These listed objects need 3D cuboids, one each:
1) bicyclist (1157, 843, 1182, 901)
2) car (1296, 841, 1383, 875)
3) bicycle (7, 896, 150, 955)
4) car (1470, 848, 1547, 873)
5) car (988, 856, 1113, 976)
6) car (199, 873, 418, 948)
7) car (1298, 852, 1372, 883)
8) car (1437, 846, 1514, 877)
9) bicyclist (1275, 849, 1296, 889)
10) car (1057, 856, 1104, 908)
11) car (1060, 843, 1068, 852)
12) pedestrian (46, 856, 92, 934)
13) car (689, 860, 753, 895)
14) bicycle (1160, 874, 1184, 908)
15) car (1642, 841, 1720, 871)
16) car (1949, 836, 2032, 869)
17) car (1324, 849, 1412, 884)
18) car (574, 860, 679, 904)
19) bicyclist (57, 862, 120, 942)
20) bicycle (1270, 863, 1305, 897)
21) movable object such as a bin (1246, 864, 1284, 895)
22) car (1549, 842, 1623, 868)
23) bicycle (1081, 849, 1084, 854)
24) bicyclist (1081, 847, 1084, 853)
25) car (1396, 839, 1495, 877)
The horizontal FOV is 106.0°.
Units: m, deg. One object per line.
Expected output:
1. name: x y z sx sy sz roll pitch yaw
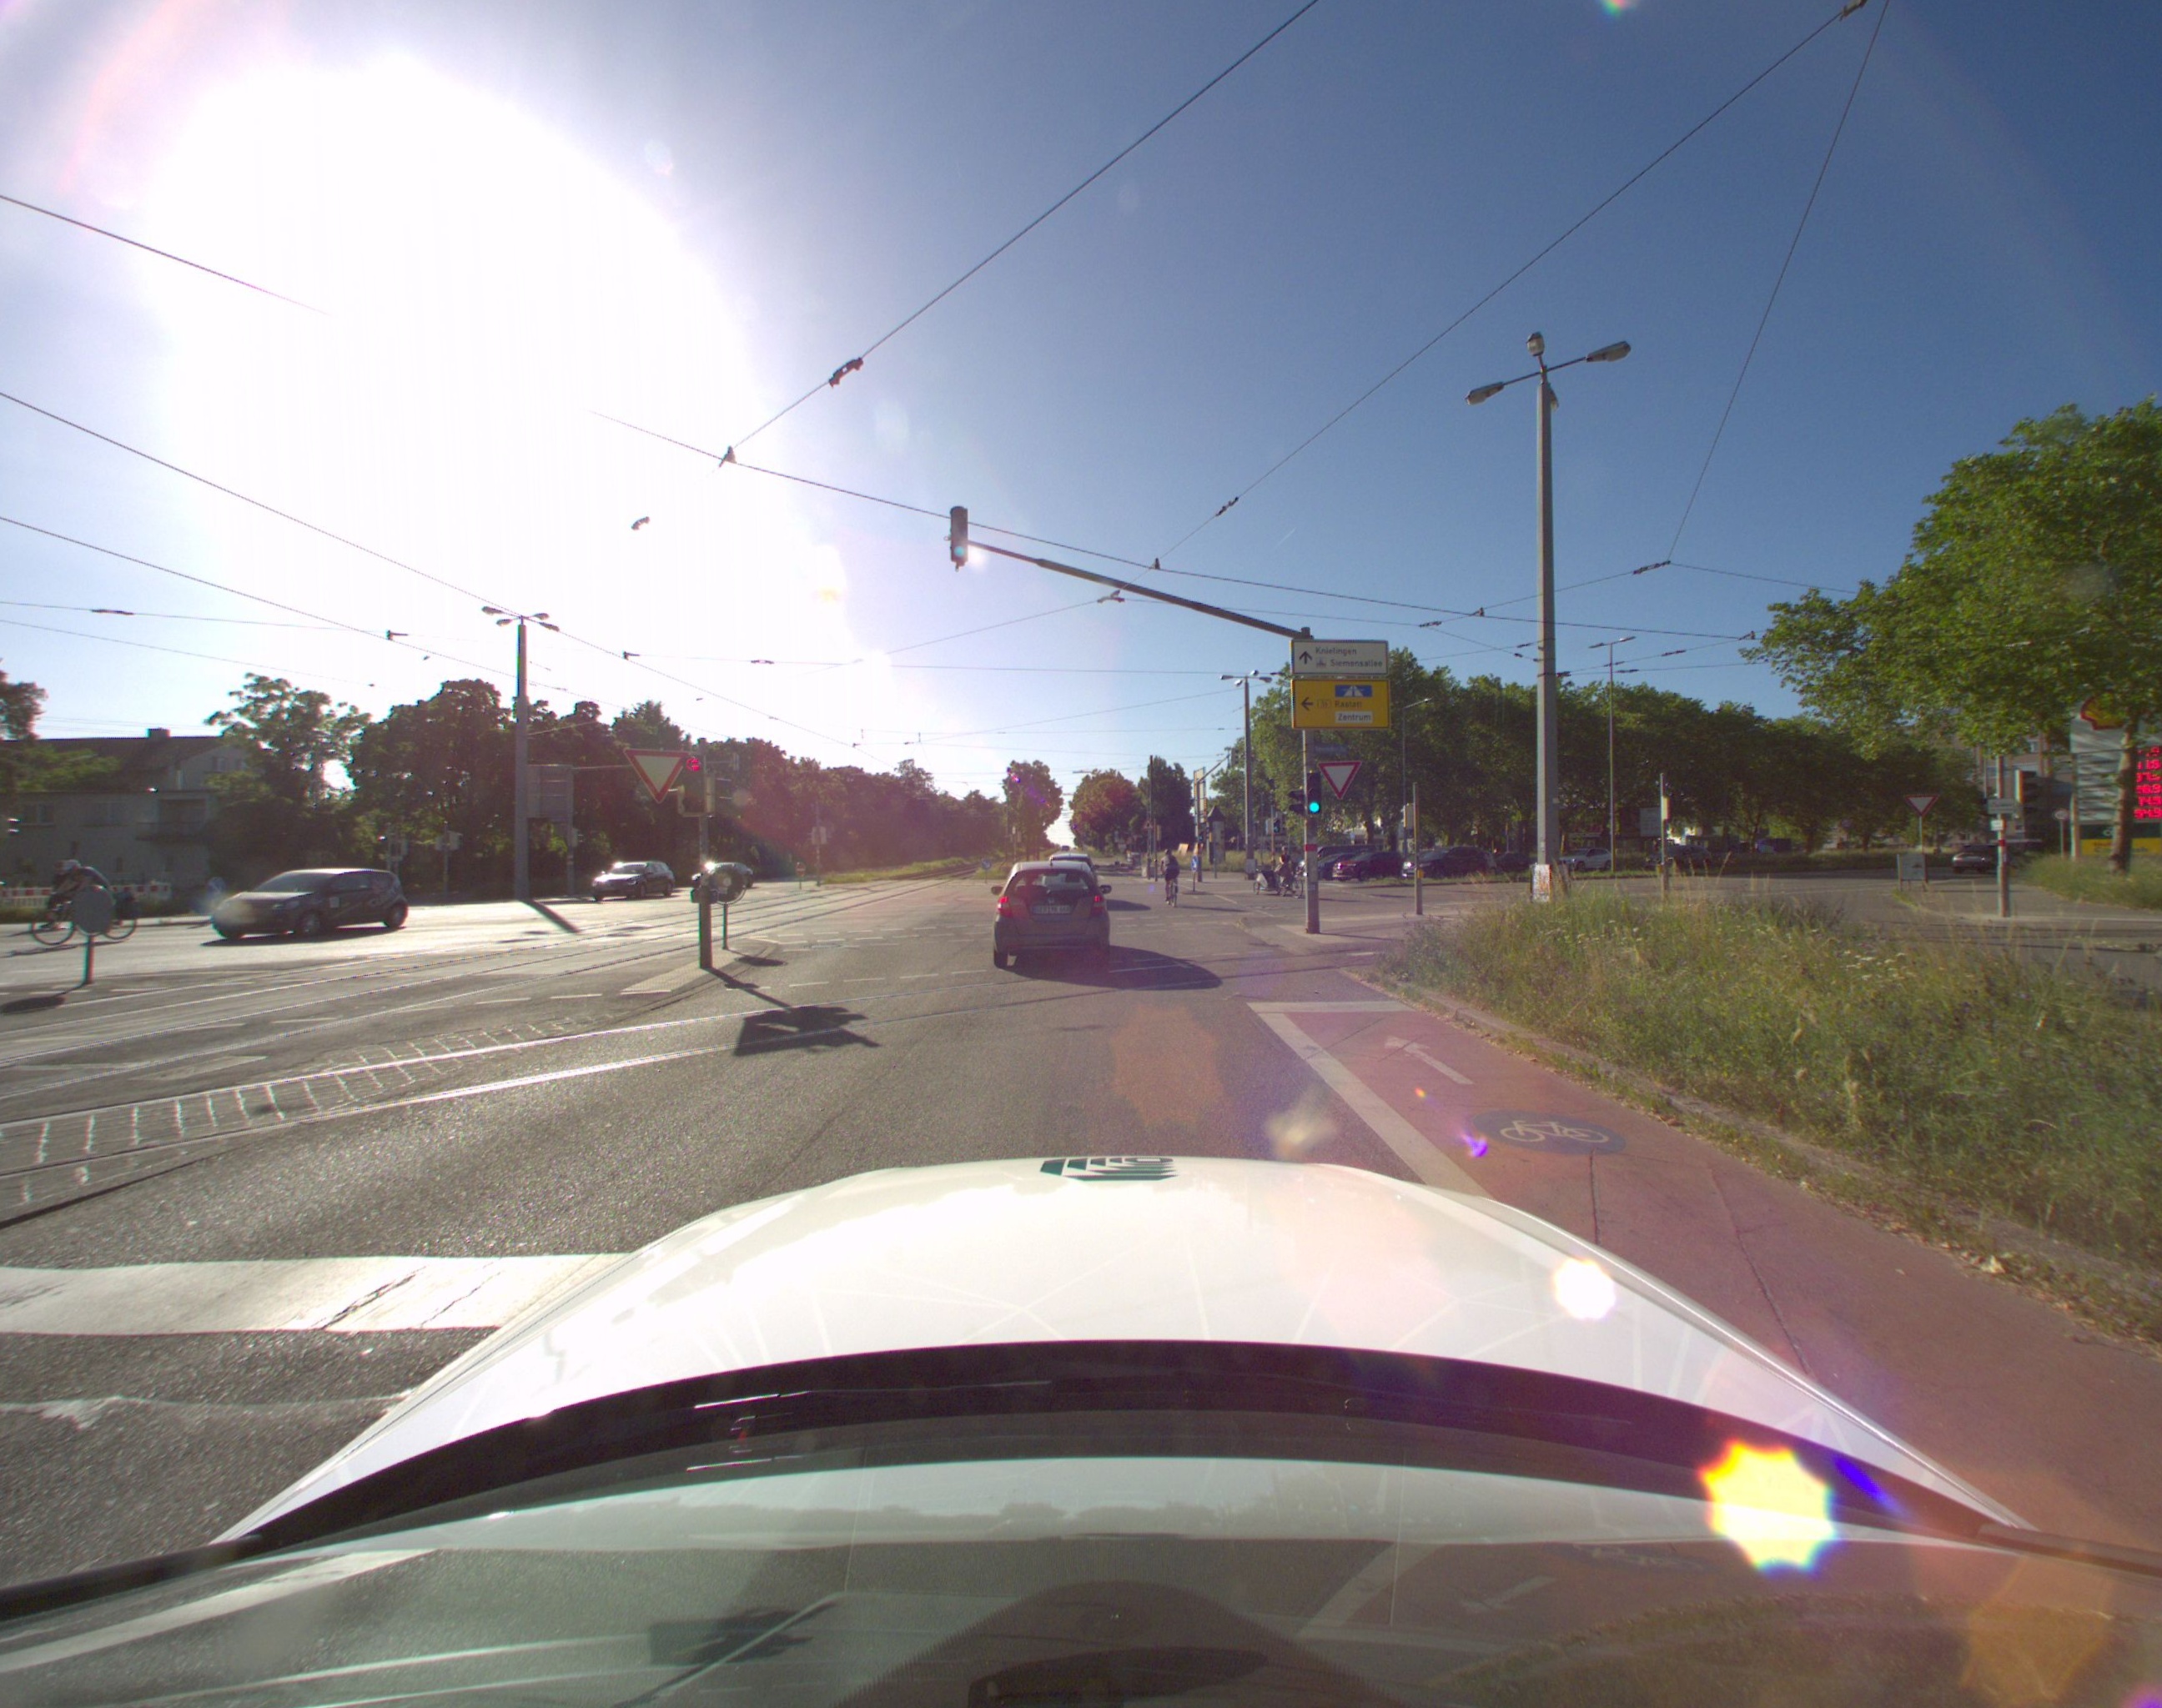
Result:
1. bicyclist: 2.650 0.532 24.460 0.613 1.679 0.933 -1 -1 1
2. car: 16.728 0.284 52.954 5.075 2.070 2.135 -1 0 7
3. bicycle: -20.594 1.437 16.805 0.505 1.042 1.949 -1 0 1
4. car: 26.765 0.408 50.995 4.579 1.408 1.918 -1 -1 -26
5. car: -0.376 0.841 12.838 1.665 1.515 3.675 1 1 1
6. car: -17.484 1.211 18.710 1.680 1.458 3.697 -1 0 -5
7. car: 14.251 0.722 45.712 3.868 1.600 1.698 -1 -1 -27
8. car: 21.814 0.397 45.009 3.864 1.600 1.700 -1 -1 -23
9. bicyclist: 7.019 0.513 27.986 0.509 1.340 0.563 -1 -1 -10
10. car: 0.000 0.842 25.841 1.347 1.528 3.123 -1 -1 0
11. car: -4.312 -1.654 209.342 1.987 2.014 4.000 -1 0 0
12. pedestrian: -25.799 1.027 20.769 0.615 1.948 0.767 -1 0 -42
13. car: -18.469 1.173 41.948 1.788 1.687 3.994 -1 0 -5
14. bicycle: 2.707 1.091 24.331 0.522 0.923 2.090 -1 -1 2
15. car: 34.562 0.137 46.884 4.008 1.618 1.983 -1 -1 -26
16. car: 47.986 -0.091 42.972 3.777 1.704 1.812 0 0 -24
17. car: 14.632 0.619 41.540 4.094 1.600 1.802 -1 -1 -23
18. car: -18.166 1.066 32.819 1.809 1.596 4.687 -1 0 -3
19. bicyclist: -20.606 0.986 16.918 0.487 1.608 0.648 -1 -1 1
20. bicycle: 7.080 0.860 28.006 0.466 1.119 1.814 -1 0 -9
21. movable object such as a bin: 6.669 0.899 29.569 0.908 1.068 1.313 -1 0 -7
22. car: 33.307 0.097 53.734 4.785 1.682 1.892 0 -1 -26
23. bicycle: 0.382 -0.581 191.559 0.815 1.048 2.506 0 -1 1
24. bicyclist: 0.391 -0.952 191.585 0.815 1.524 0.966 0 -1 0
25. car: 17.458 0.176 39.017 4.504 1.711 1.904 -1 -1 -27
